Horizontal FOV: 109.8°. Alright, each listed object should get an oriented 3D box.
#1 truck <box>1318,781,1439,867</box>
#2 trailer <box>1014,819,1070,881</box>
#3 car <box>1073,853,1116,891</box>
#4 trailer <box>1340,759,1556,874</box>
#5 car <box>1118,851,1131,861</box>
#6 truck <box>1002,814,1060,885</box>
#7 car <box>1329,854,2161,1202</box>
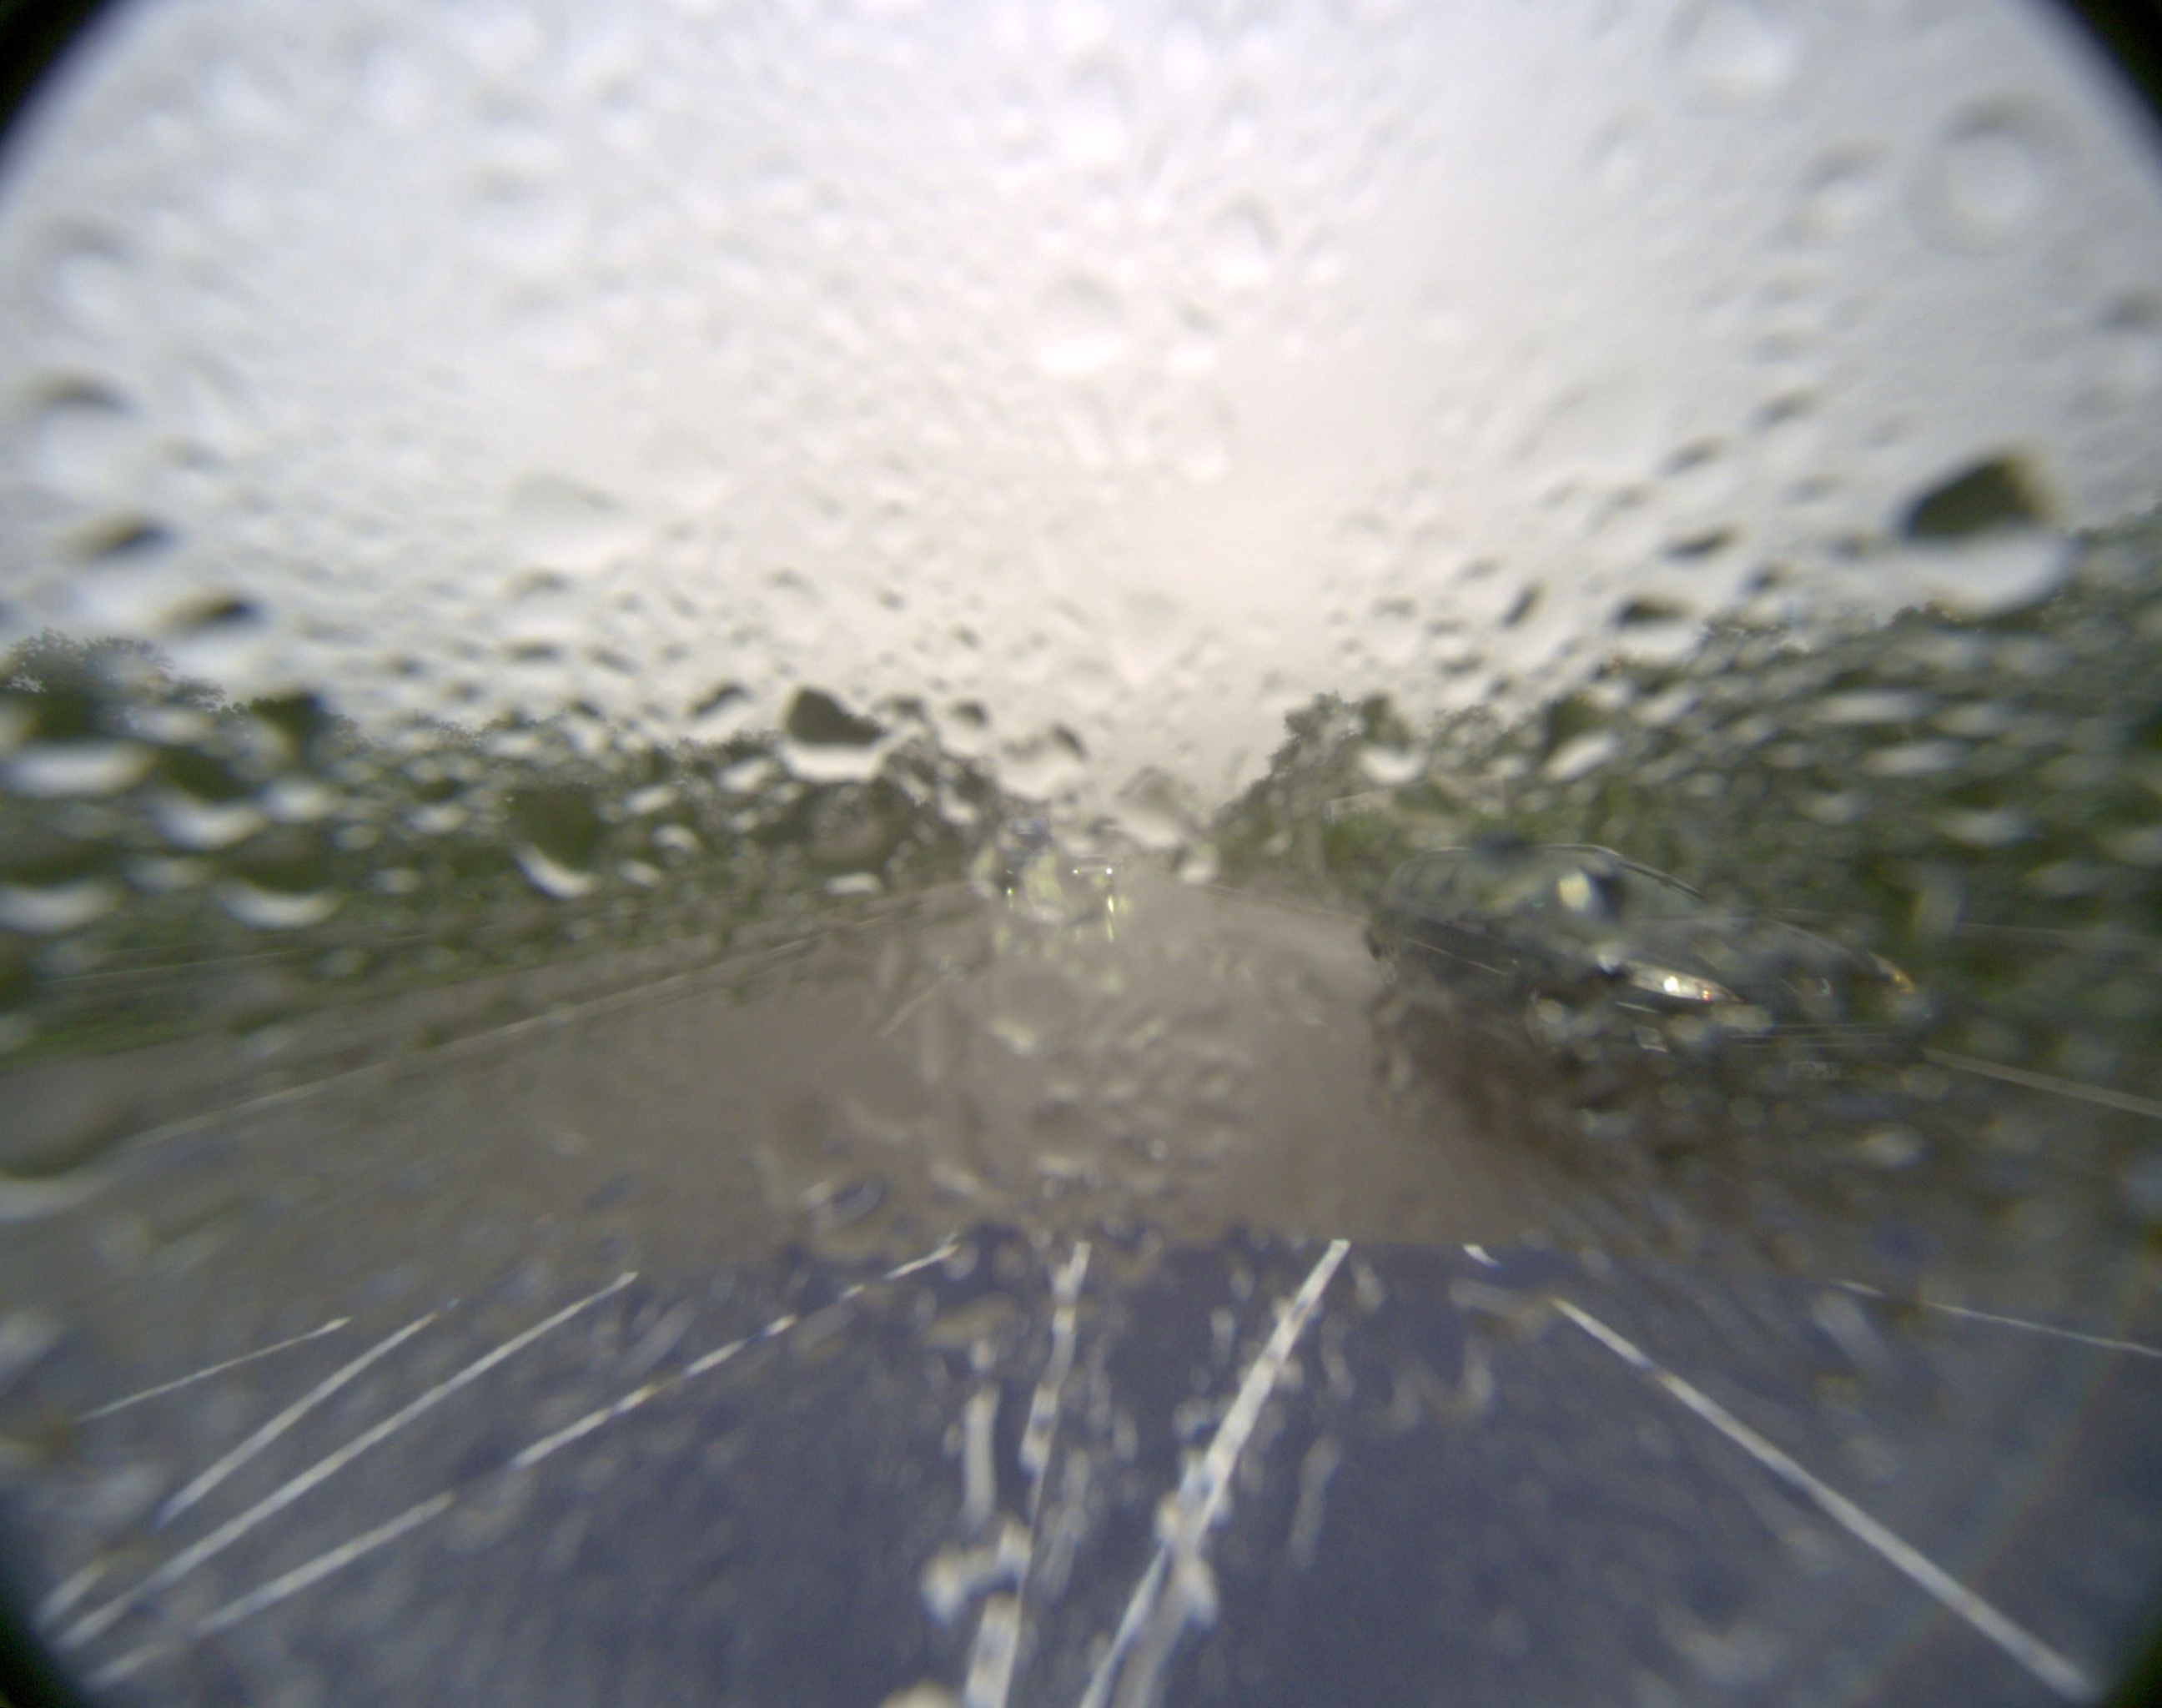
[{"bbox_3d":[17.949,-1.671,46.844,3.845,4.612,9.408,-2,0,1],"label":"truck"},{"bbox_3d":[-2.615,-0.291,56.104,2.750,3.940,14.131,-2,0,2],"label":"trailer"},{"bbox_3d":[0.671,0.760,34.594,1.751,1.545,4.091,-2,0,3],"label":"car"},{"bbox_3d":[17.811,-1.605,39.064,3.879,4.668,15.025,-2,0,1],"label":"trailer"},{"bbox_3d":[7.206,0.282,125.515,1.900,1.533,4.090,-2,0,1],"label":"car"},{"bbox_3d":[-2.999,-0.279,47.430,2.755,4.055,6.483,-2,1,3],"label":"truck"},{"bbox_3d":[3.895,0.786,6.032,2.059,1.477,5.157,-2,0,-1],"label":"car"}]
